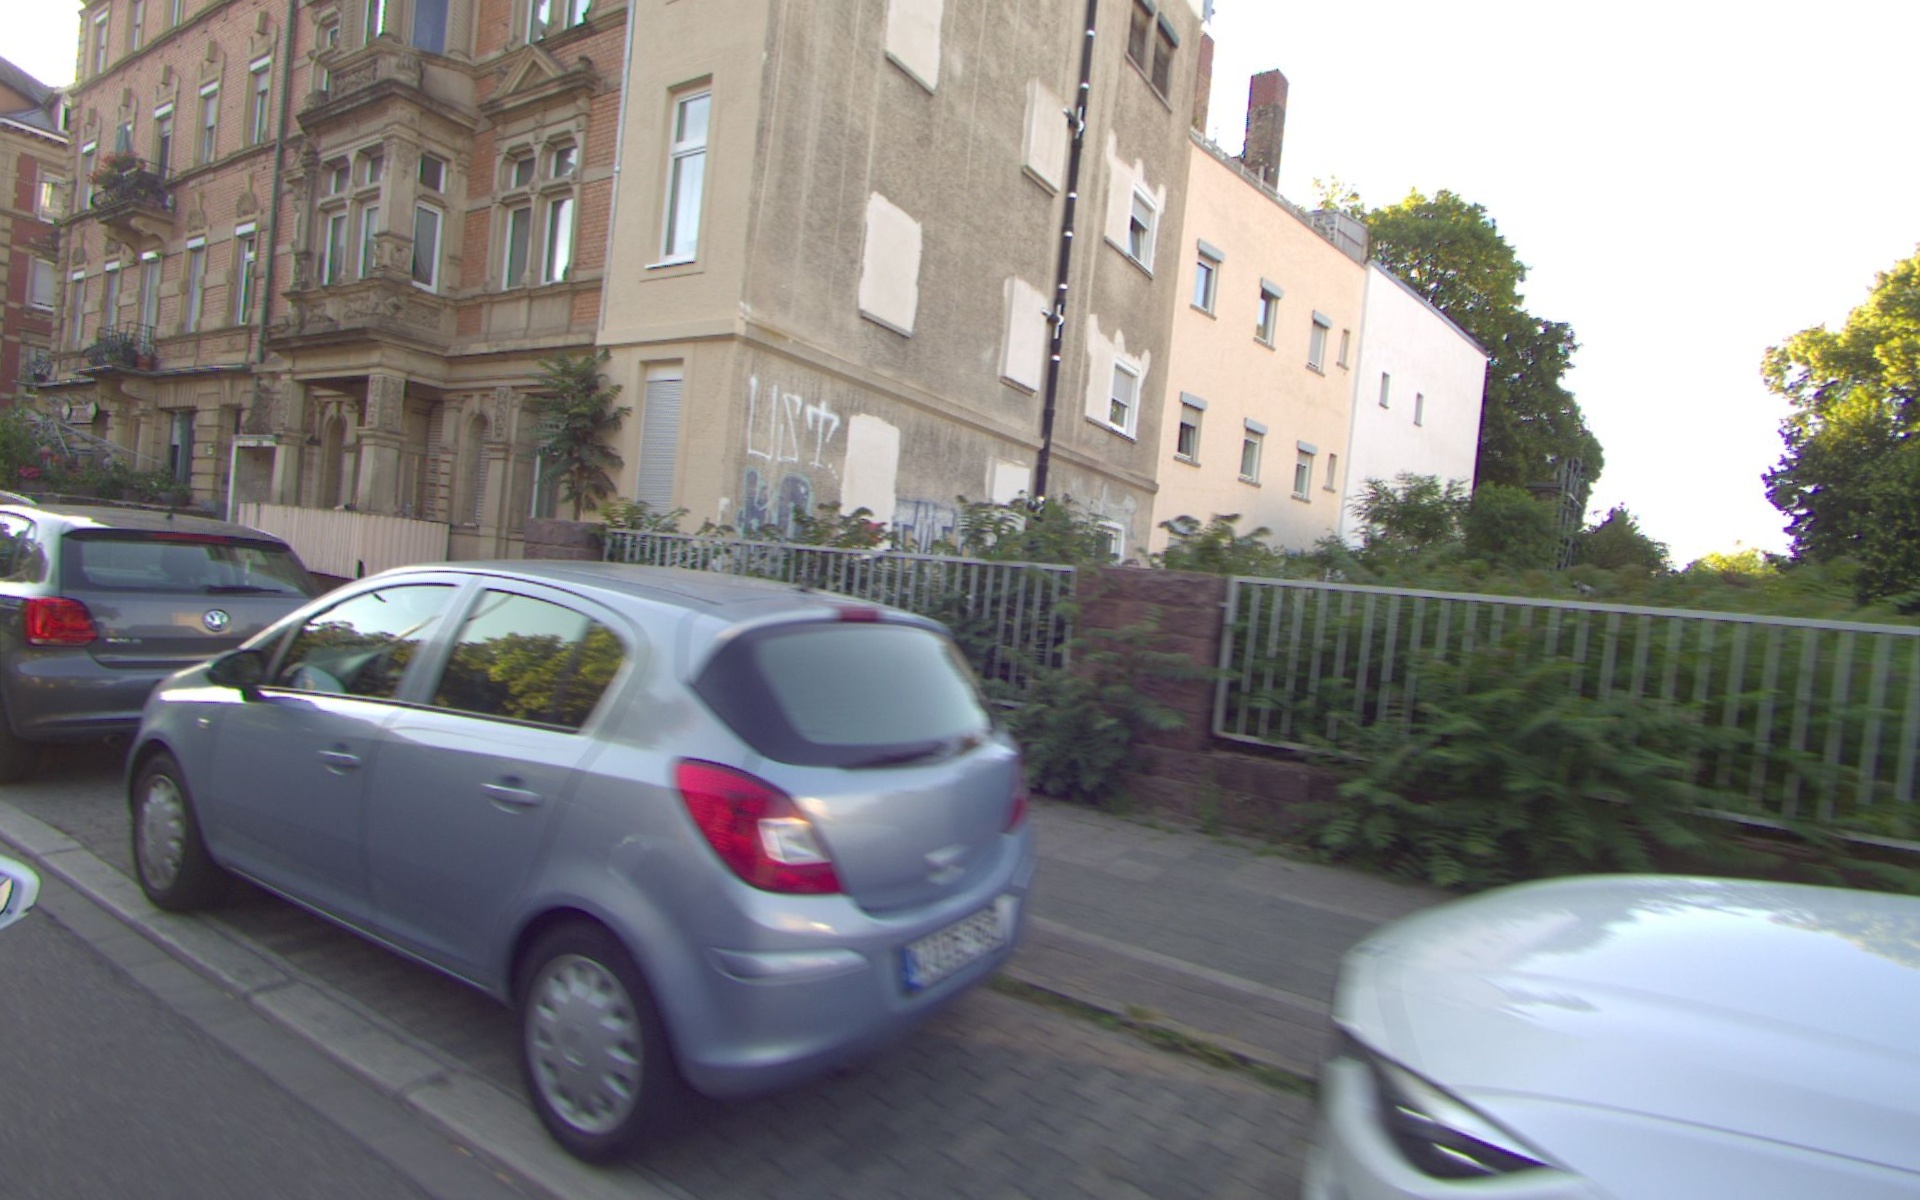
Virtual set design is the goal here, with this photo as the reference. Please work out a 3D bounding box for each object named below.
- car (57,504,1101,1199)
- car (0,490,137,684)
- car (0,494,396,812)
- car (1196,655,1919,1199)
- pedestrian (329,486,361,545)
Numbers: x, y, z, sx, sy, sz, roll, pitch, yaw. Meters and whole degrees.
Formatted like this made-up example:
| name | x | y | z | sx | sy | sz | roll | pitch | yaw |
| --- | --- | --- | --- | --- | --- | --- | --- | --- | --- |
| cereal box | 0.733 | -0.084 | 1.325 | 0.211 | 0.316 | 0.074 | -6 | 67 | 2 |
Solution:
| name | x | y | z | sx | sy | sz | roll | pitch | yaw |
| --- | --- | --- | --- | --- | --- | --- | --- | --- | --- |
| car | -1.617 | 0.537 | 3.851 | 3.828 | 1.508 | 1.700 | 6 | 4 | 31 |
| car | -9.254 | -0.280 | 8.793 | 4.390 | 1.468 | 1.886 | 6 | 4 | 32 |
| car | -5.541 | 0.112 | 6.460 | 3.777 | 1.446 | 1.746 | 6 | 4 | 32 |
| car | 2.822 | 1.083 | 1.345 | 4.567 | 1.404 | 1.727 | 6 | 4 | 32 |
| pedestrian | -9.832 | -1.347 | 16.082 | 0.305 | 0.880 | 0.318 | 7 | -1 | -25 |
